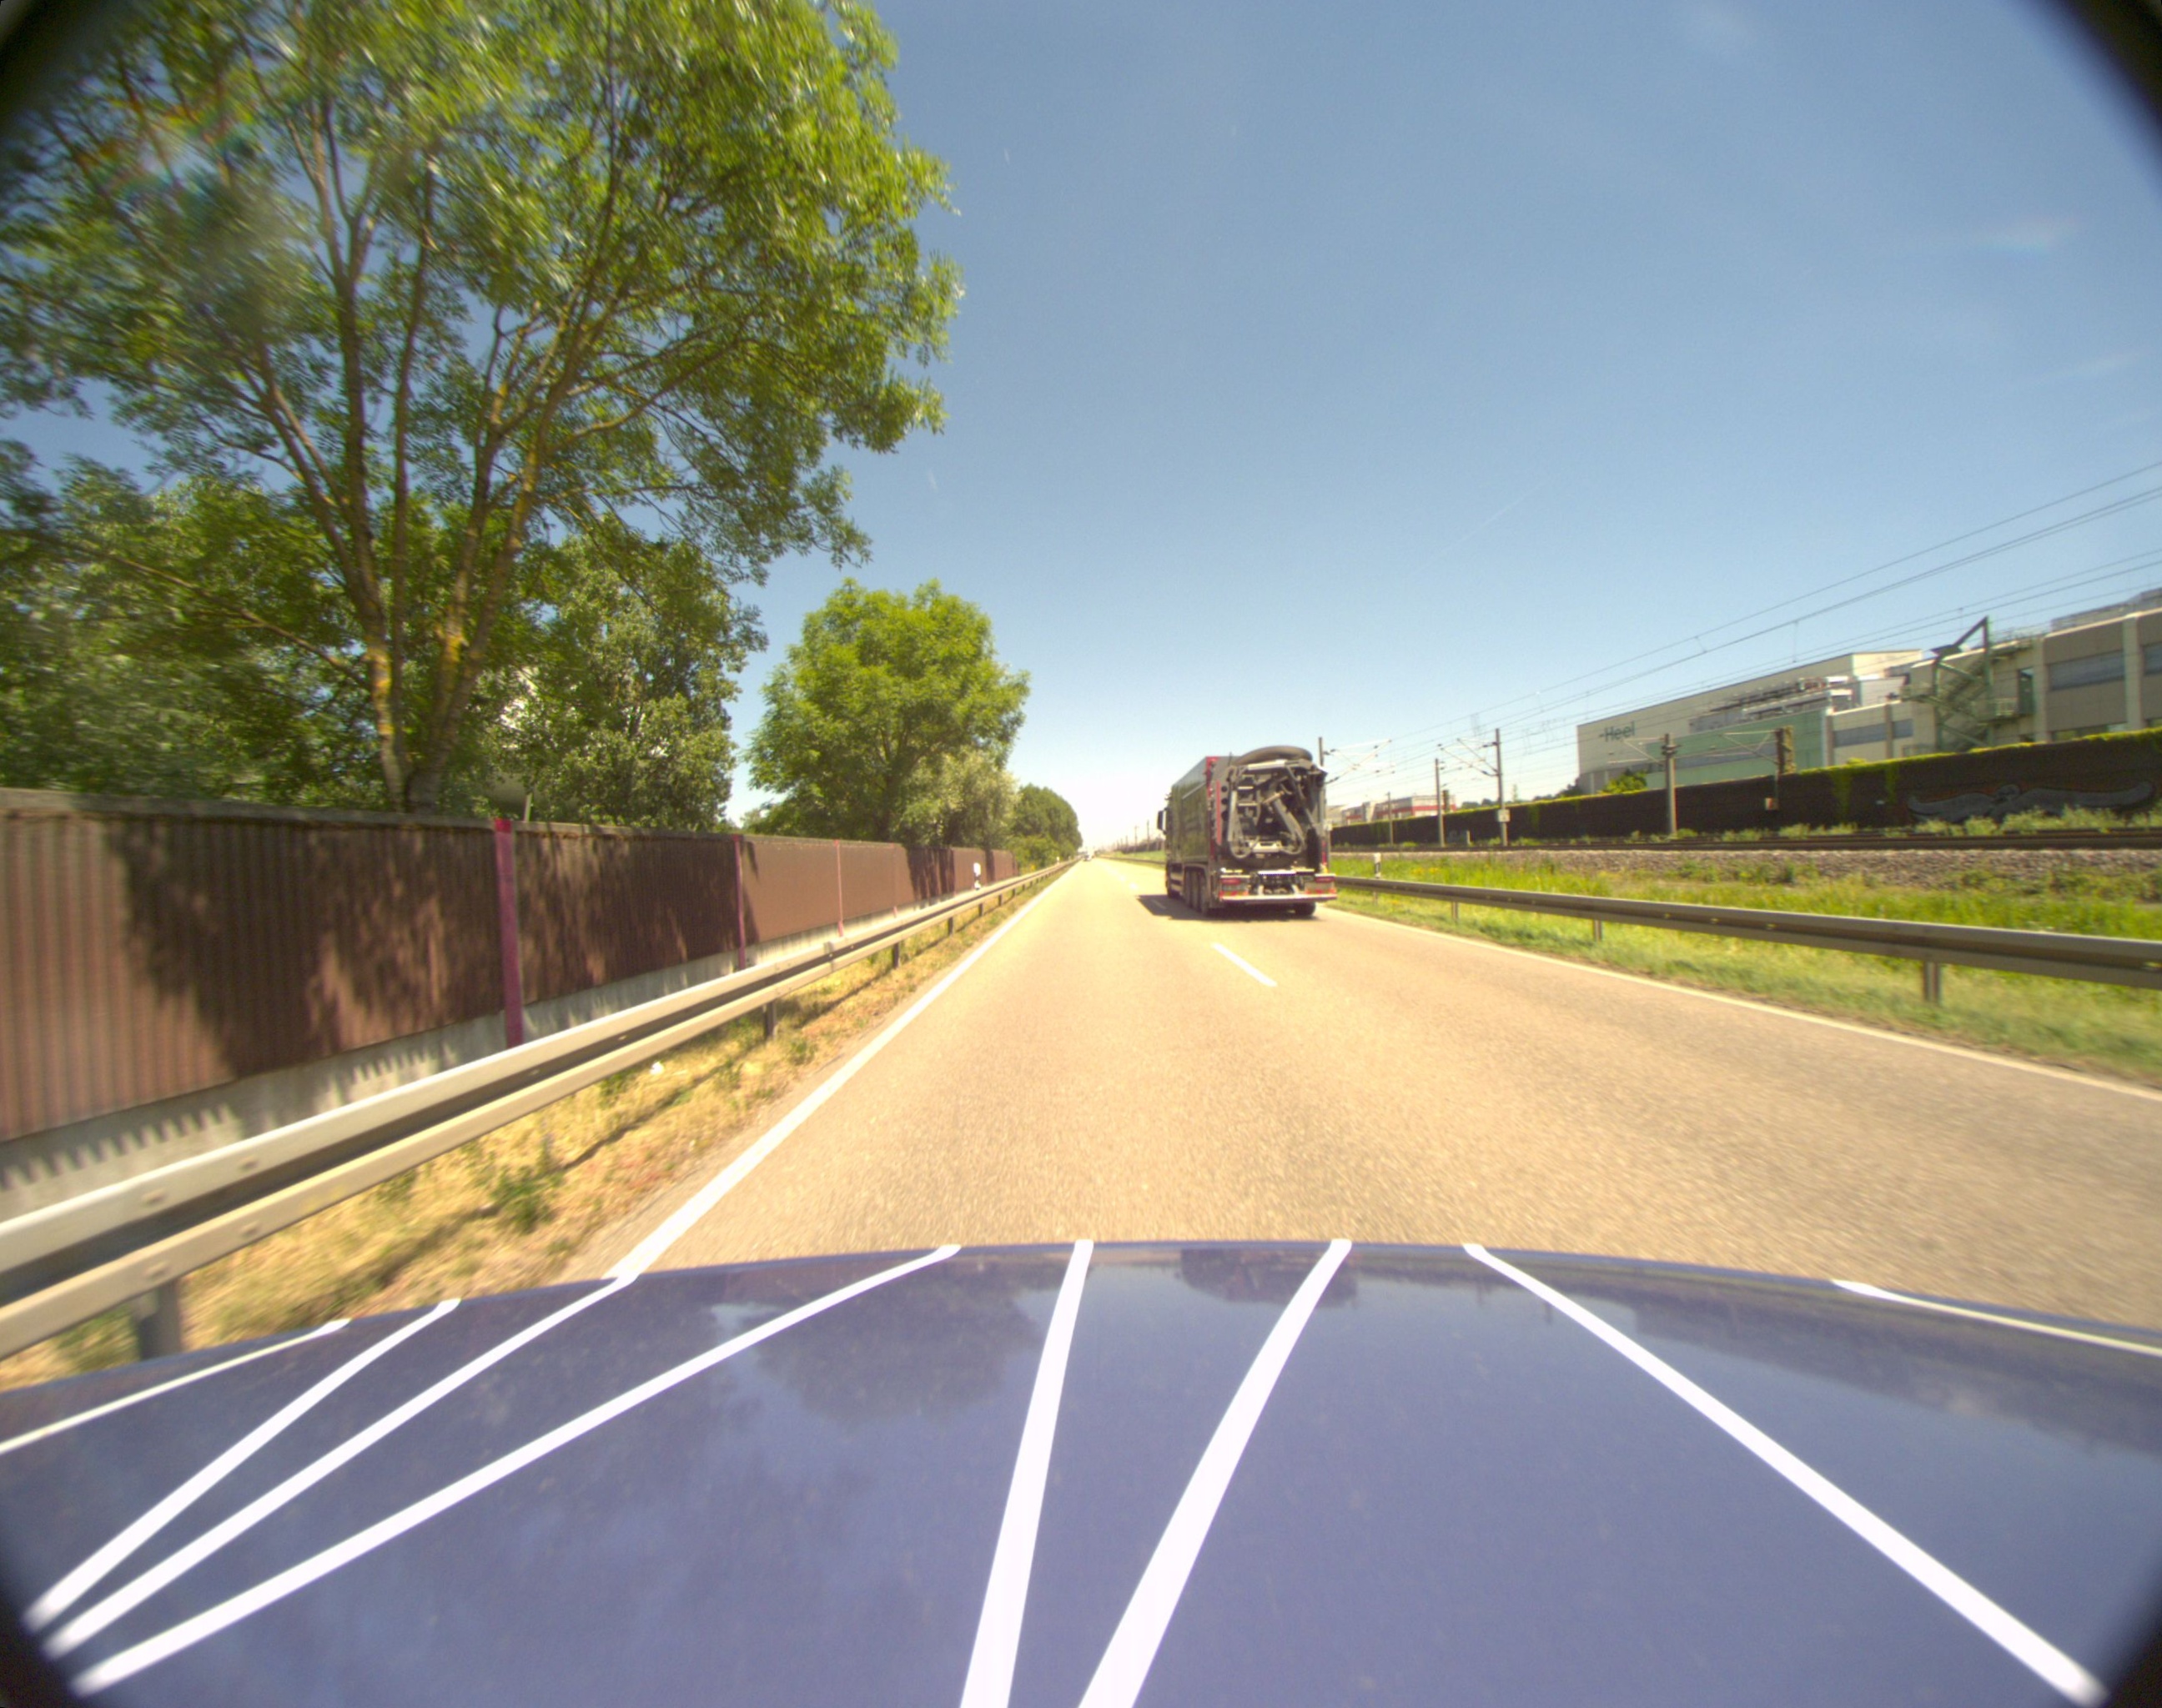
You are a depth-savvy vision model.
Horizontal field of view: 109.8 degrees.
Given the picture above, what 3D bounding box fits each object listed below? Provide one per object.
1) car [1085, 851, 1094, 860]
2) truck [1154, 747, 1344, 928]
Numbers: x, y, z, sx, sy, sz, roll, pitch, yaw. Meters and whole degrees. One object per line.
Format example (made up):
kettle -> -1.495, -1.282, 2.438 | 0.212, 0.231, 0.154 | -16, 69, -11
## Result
car -> 1.975, 0.397, 179.452 | 1.999, 2.002, 3.999 | -2, 0, -1
truck -> 3.947, -0.337, 20.894 | 2.665, 3.605, 10.976 | -2, 0, 0
